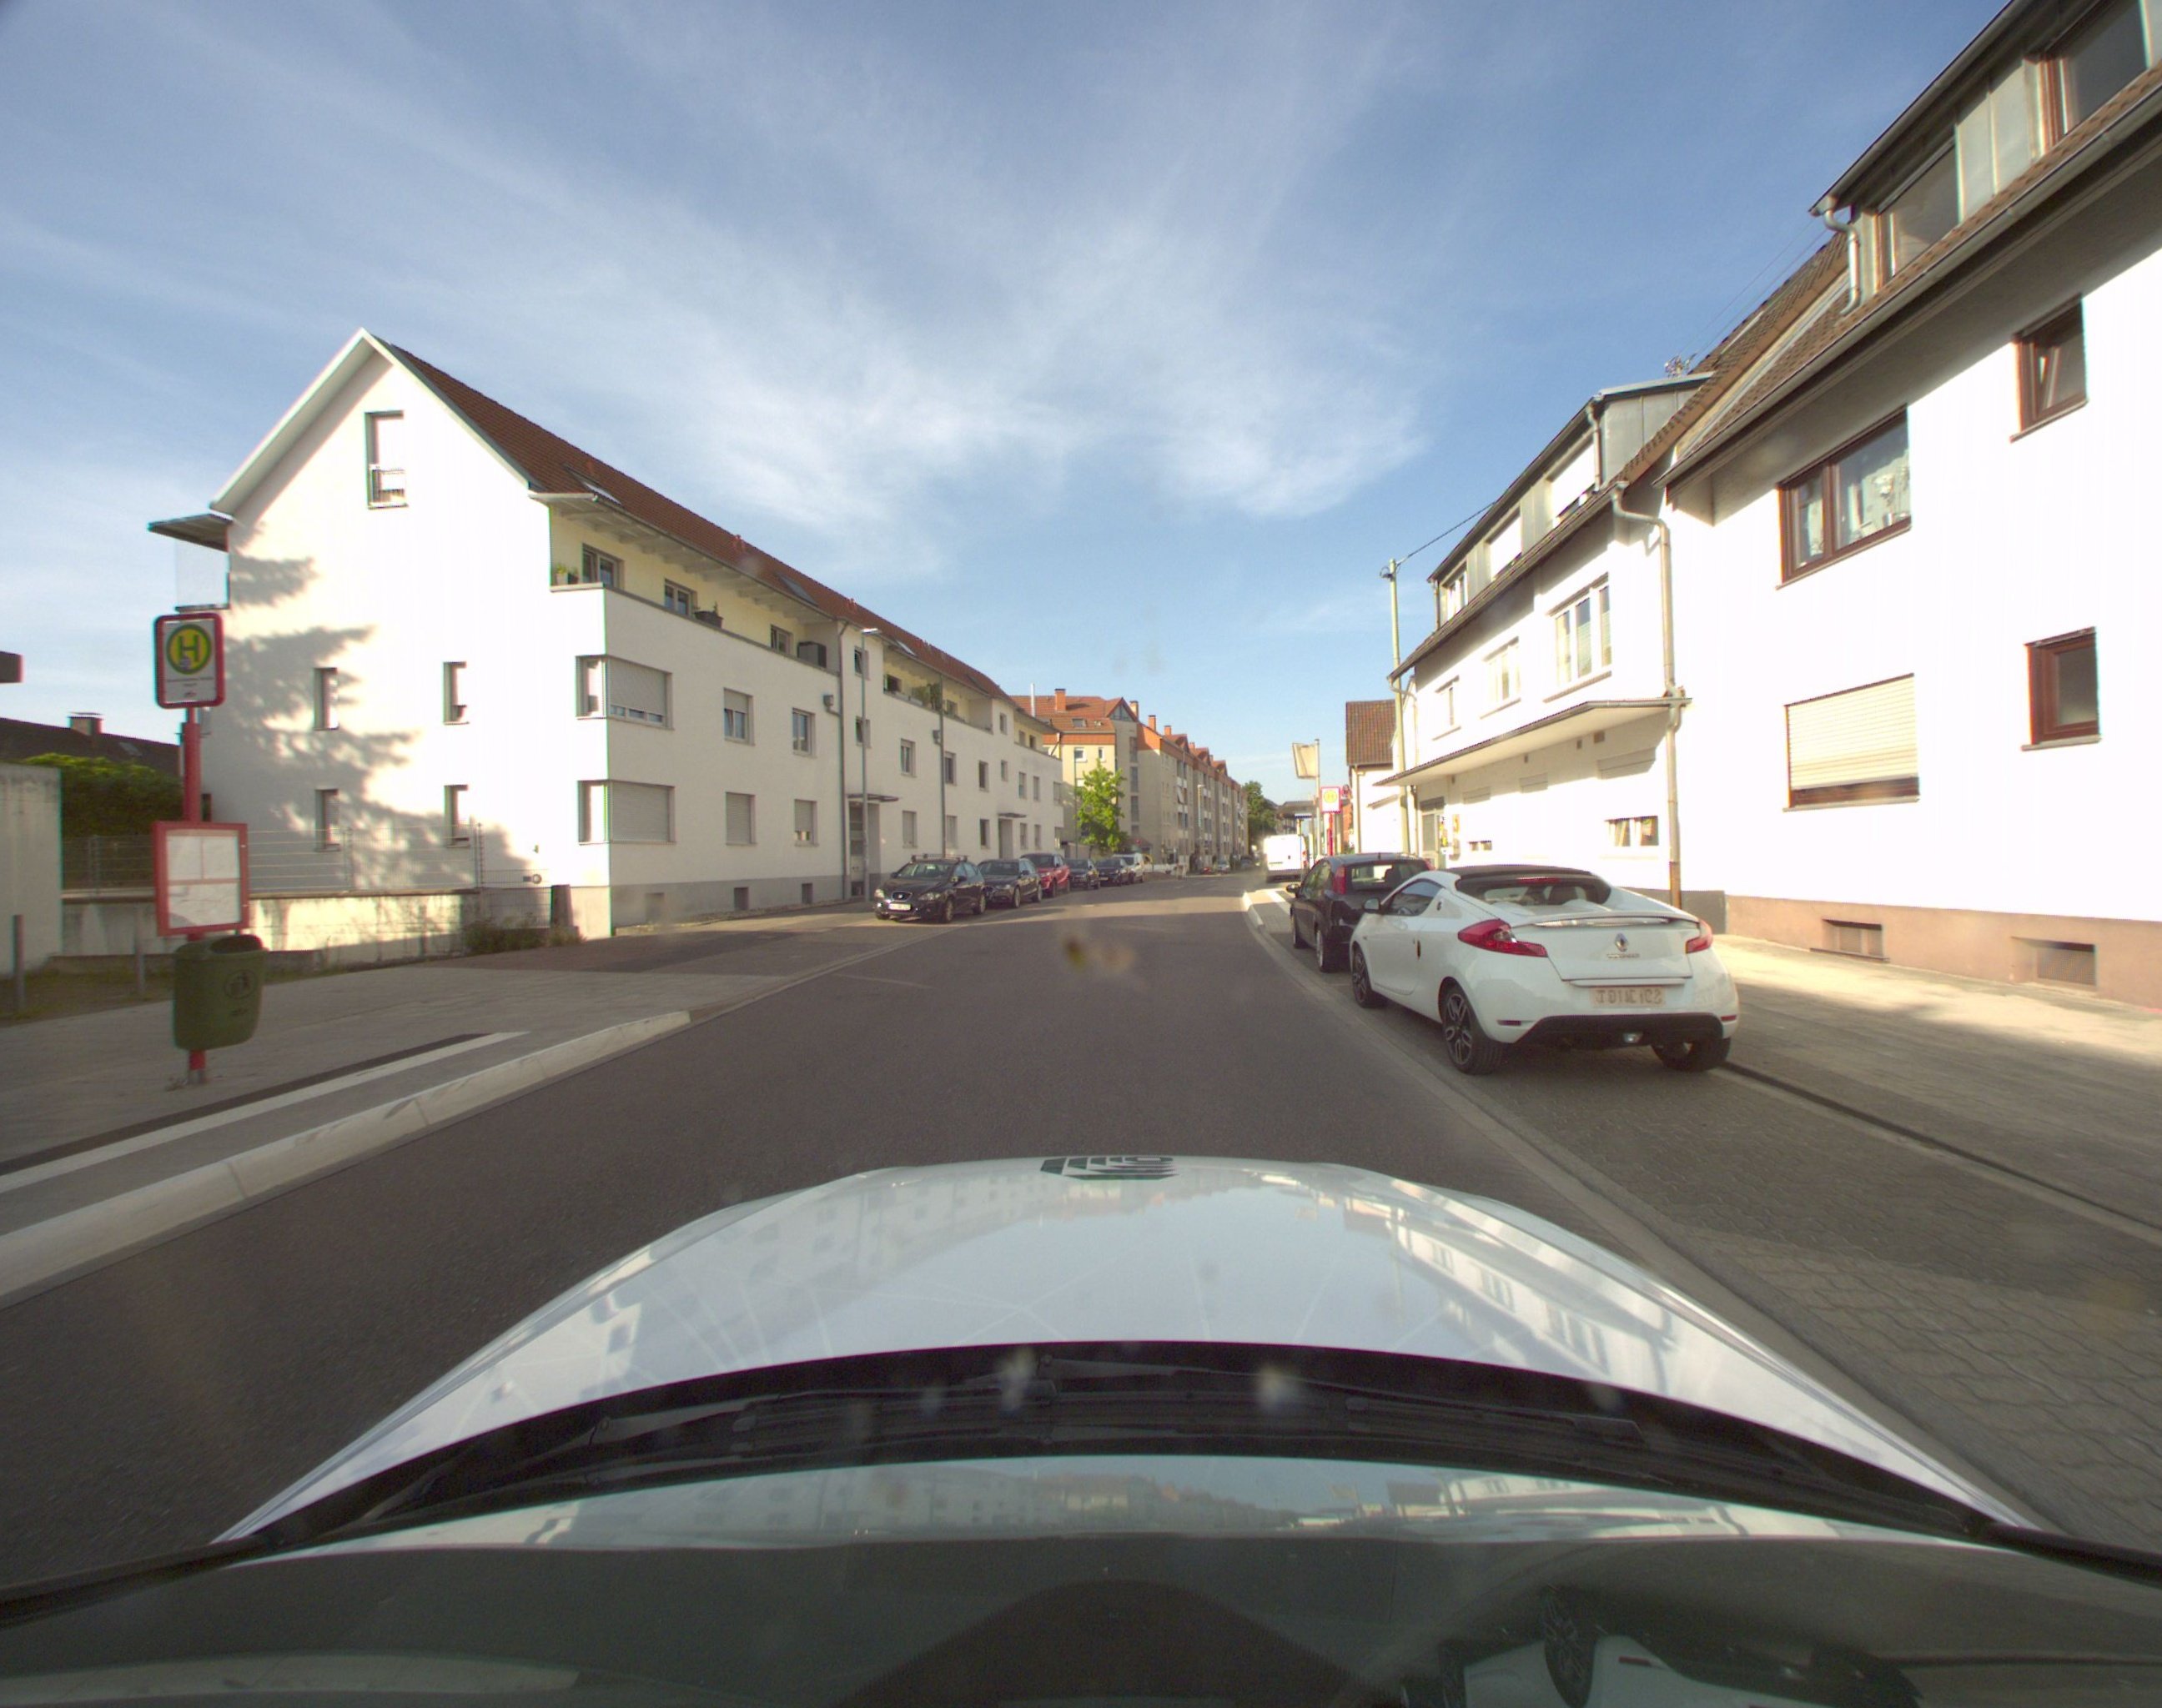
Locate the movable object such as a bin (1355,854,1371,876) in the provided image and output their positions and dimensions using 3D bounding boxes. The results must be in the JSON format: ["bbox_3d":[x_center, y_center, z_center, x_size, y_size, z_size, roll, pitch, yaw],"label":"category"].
[{"bbox_3d":[14.667,0.568,42.331,0.722,1.132,0.556,-1,-1,16],"label":"movable object such as a bin"}]

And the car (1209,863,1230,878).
[{"bbox_3d":[13.980,1.678,82.055,1.627,1.395,3.687,-2,-1,17],"label":"car"}]

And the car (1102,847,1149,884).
[{"bbox_3d":[2.623,0.638,46.927,1.714,1.960,4.457,2,1,15],"label":"car"}]

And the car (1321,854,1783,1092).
[{"bbox_3d":[3.453,0.716,7.055,1.707,1.398,4.338,0,0,3],"label":"car"}]

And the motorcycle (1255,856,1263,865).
[{"bbox_3d":[20.214,0.716,92.614,0.762,0.985,2.208,-1,0,16],"label":"motorcycle"}]

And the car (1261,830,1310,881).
[{"bbox_3d":[10.510,0.077,41.513,2.158,2.327,5.018,-3,-1,16],"label":"car"}]

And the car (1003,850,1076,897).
[{"bbox_3d":[-1.488,0.671,30.792,1.716,1.622,4.276,-1,0,11],"label":"car"}]

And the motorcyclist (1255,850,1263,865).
[{"bbox_3d":[20.222,0.383,92.617,0.763,1.652,0.847,-1,0,16],"label":"motorcyclist"}]

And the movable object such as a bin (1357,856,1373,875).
[{"bbox_3d":[14.291,0.563,41.007,0.722,0.959,0.556,-1,-1,16],"label":"movable object such as a bin"}]

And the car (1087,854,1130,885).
[{"bbox_3d":[1.454,0.748,41.909,1.482,1.465,3.527,3,1,14],"label":"car"}]

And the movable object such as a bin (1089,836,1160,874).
[{"bbox_3d":[3.455,0.080,64.006,5.474,2.900,2.114,0,0,3],"label":"movable object such as a bin"}]

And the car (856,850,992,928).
[{"bbox_3d":[-3.679,0.749,19.846,1.764,1.622,4.190,2,1,11],"label":"car"}]

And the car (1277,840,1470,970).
[{"bbox_3d":[3.883,0.602,11.470,1.599,1.421,3.927,-4,0,6],"label":"car"}]

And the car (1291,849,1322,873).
[{"bbox_3d":[19.118,0.548,69.003,2.058,1.856,4.634,-3,-1,21],"label":"car"}]

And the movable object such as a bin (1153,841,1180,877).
[{"bbox_3d":[7.680,0.452,73.007,1.635,3.138,3.917,0,1,17],"label":"movable object such as a bin"}]

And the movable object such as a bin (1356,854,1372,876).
[{"bbox_3d":[14.494,0.576,41.737,0.722,1.093,0.556,-2,-1,16],"label":"movable object such as a bin"}]

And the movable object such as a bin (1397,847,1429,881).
[{"bbox_3d":[11.181,0.325,27.447,0.806,1.093,0.770,-2,-1,11],"label":"movable object such as a bin"}]

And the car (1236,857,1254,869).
[{"bbox_3d":[19.940,1.037,99.116,1.672,1.406,4.102,-1,0,18],"label":"car"}]

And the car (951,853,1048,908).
[{"bbox_3d":[-2.402,0.744,25.247,1.716,1.478,4.516,1,1,11],"label":"car"}]

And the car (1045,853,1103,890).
[{"bbox_3d":[-0.251,0.728,36.052,1.716,1.478,4.276,1,0,11],"label":"car"}]
